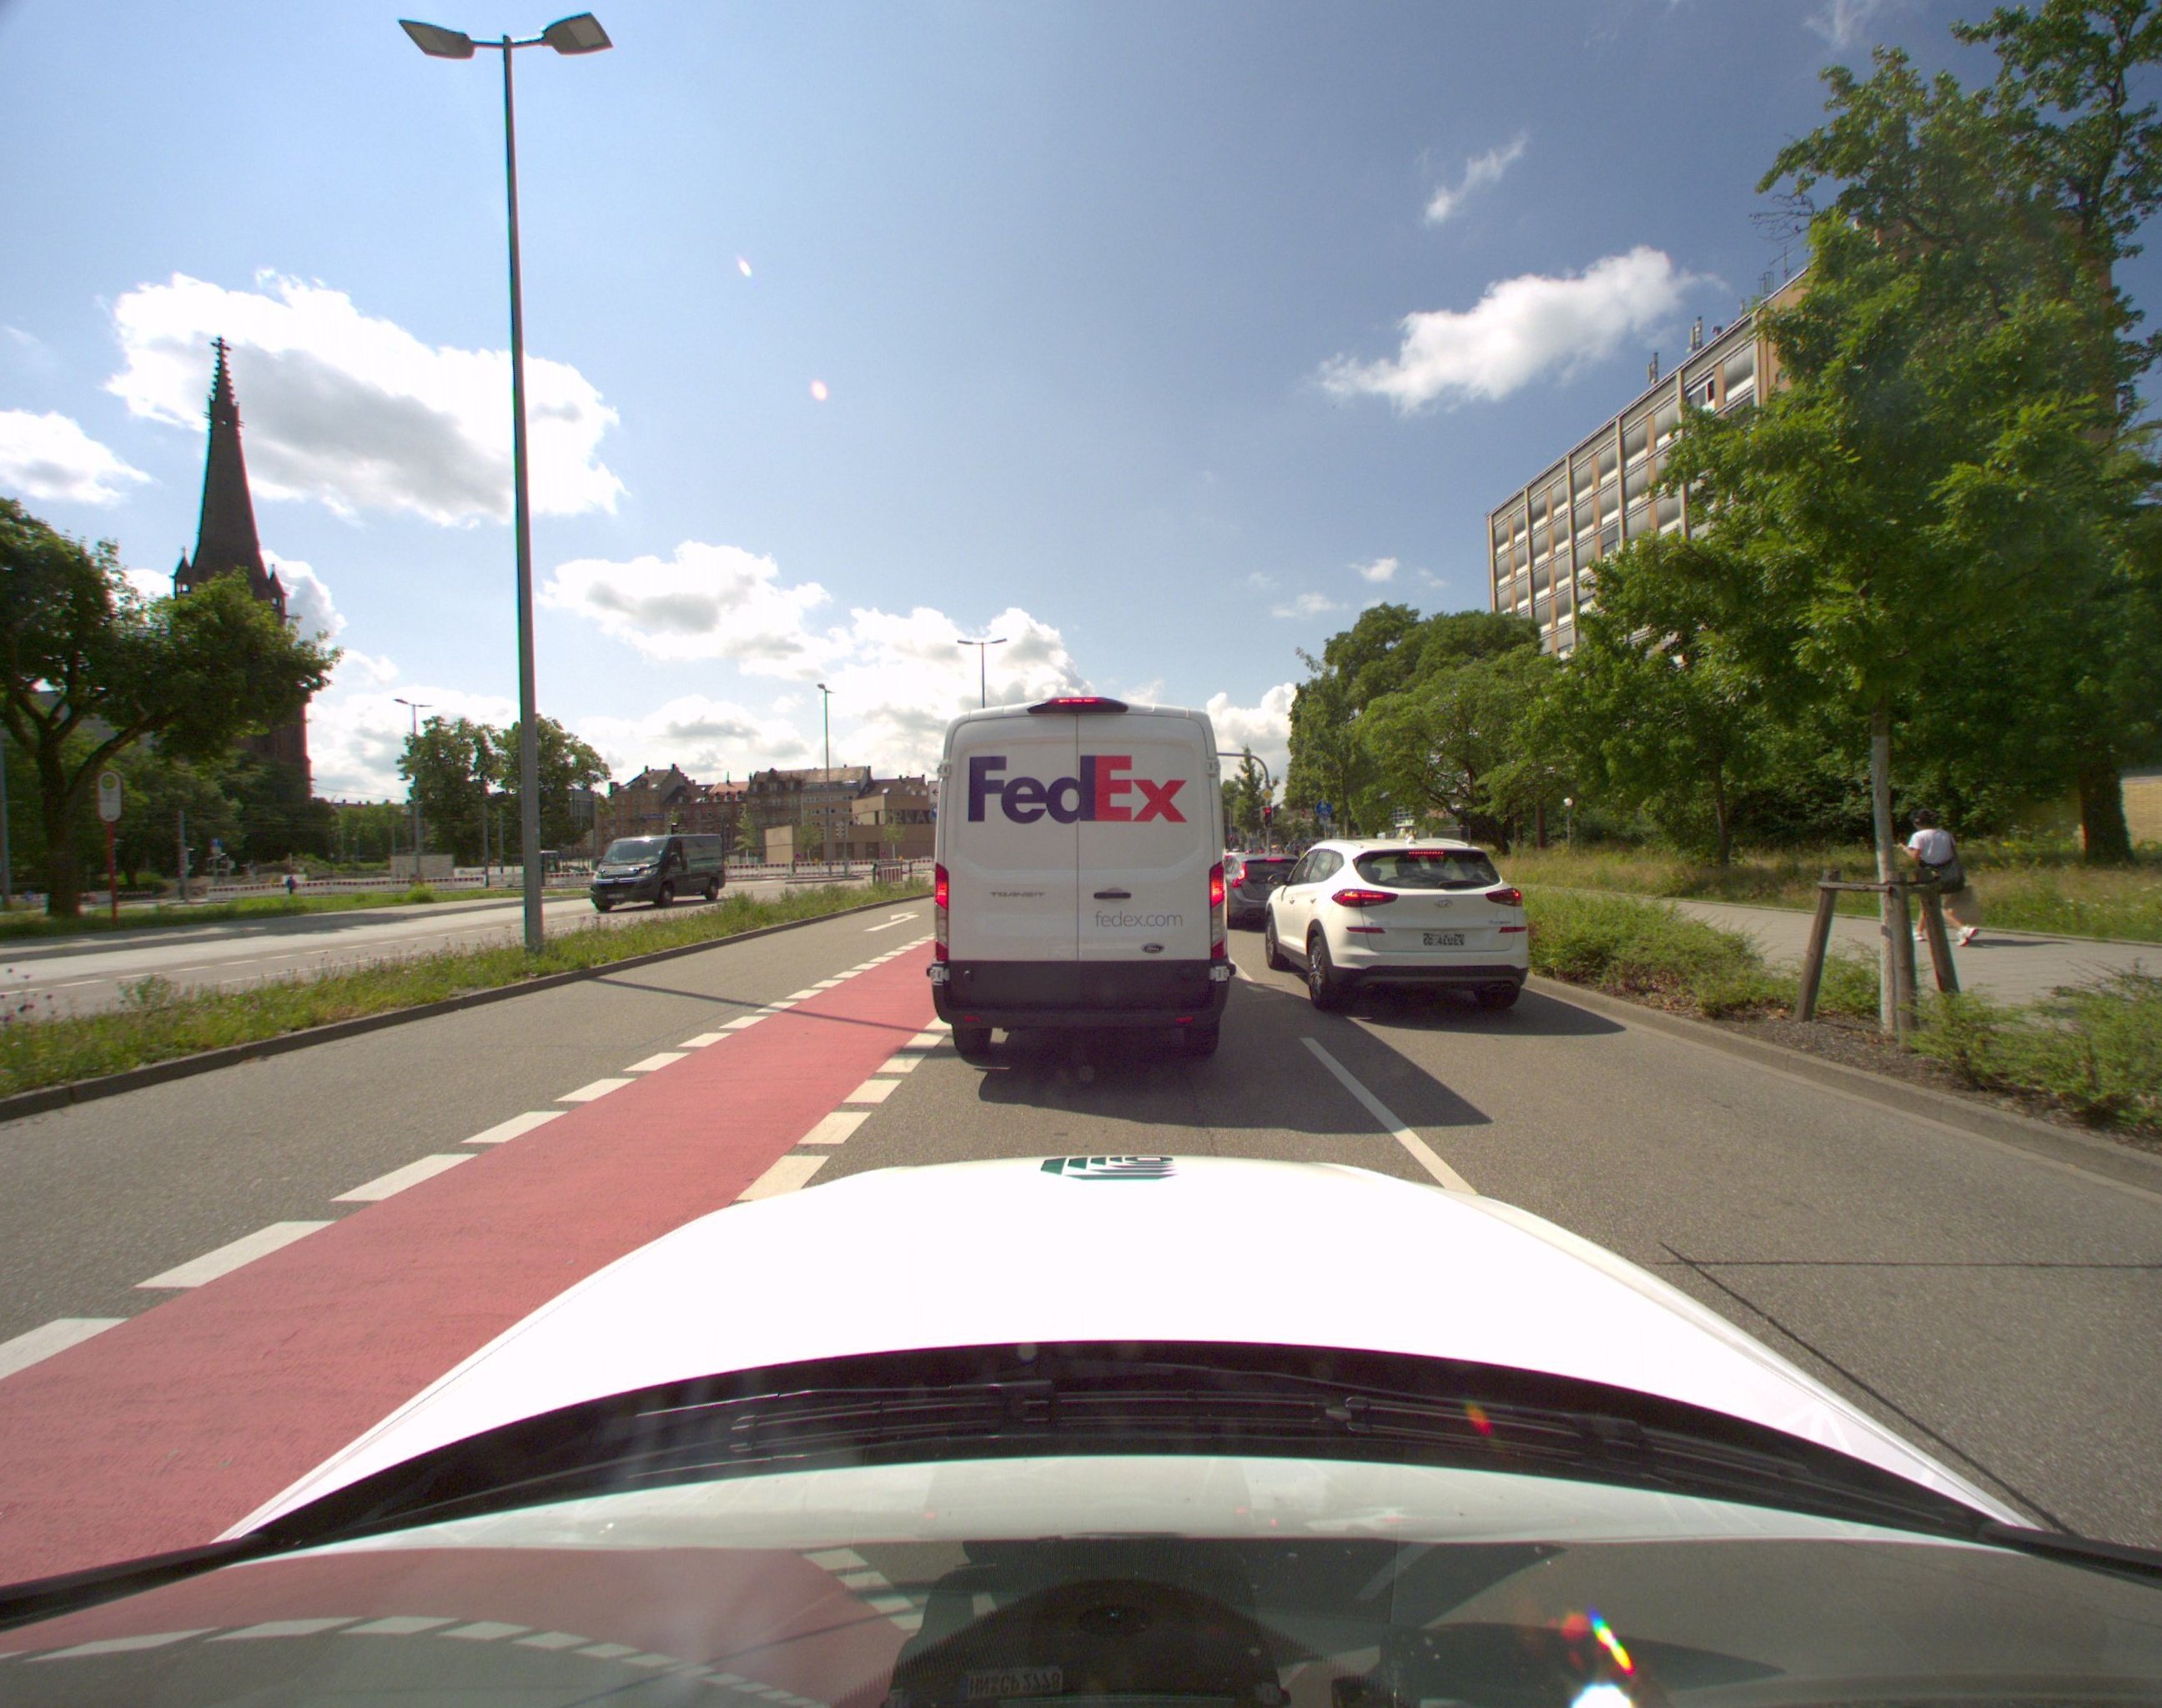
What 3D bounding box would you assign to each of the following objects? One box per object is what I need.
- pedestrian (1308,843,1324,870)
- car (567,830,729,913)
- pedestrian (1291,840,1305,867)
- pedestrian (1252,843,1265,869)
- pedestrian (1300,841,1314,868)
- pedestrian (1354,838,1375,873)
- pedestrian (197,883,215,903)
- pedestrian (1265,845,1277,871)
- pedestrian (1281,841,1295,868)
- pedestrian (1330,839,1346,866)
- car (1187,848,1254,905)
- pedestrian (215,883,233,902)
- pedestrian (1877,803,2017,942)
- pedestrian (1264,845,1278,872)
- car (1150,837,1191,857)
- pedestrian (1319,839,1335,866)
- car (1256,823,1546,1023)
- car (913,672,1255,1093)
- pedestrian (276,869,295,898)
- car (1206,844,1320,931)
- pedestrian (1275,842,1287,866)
[{"bbox_3d":[16.421,0.168,56.989,0.758,1.849,0.814,-2,0,-7],"label":"pedestrian"},{"bbox_3d":[-13.151,0.474,25.221,2.140,2.175,5.019,-4,0,1],"label":"car"},{"bbox_3d":[15.566,-0.047,58.444,0.755,1.849,0.817,-2,0,5],"label":"pedestrian"},{"bbox_3d":[13.008,0.153,59.723,0.810,1.849,0.762,-2,0,5],"label":"pedestrian"},{"bbox_3d":[15.114,0.008,54.483,0.754,1.789,0.818,-2,0,10],"label":"pedestrian"},{"bbox_3d":[13.896,0.058,39.937,0.755,1.655,0.817,-2,0,5],"label":"pedestrian"},{"bbox_3d":[-79.024,3.513,73.532,0.860,1.663,0.745,-2,0,-29],"label":"pedestrian"},{"bbox_3d":[13.733,0.309,58.861,0.753,1.849,0.820,-2,0,16],"label":"pedestrian"},{"bbox_3d":[14.586,0.037,57.325,0.755,1.849,0.817,-2,0,3],"label":"pedestrian"},{"bbox_3d":[17.664,-0.096,56.013,0.758,1.849,0.814,-2,0,-6],"label":"pedestrian"},{"bbox_3d":[3.923,0.588,23.361,1.493,1.464,3.477,-2,0,3],"label":"car"},{"bbox_3d":[-78.835,3.523,74.915,0.860,1.663,0.745,-2,0,-29],"label":"pedestrian"},{"bbox_3d":[10.228,0.211,9.652,0.756,1.557,0.817,-2,0,2],"label":"pedestrian"},{"bbox_3d":[13.176,0.300,56.518,0.752,1.849,0.820,-2,0,20],"label":"pedestrian"},{"bbox_3d":[12.829,-0.987,115.688,2.464,2.717,7.129,-1,-1,37],"label":"car"},{"bbox_3d":[16.872,-0.091,55.850,0.758,1.849,0.814,-2,0,-8],"label":"pedestrian"},{"bbox_3d":[3.175,0.583,8.991,1.807,1.678,3.978,-2,0,3],"label":"car"},{"bbox_3d":[0.141,0.172,7.309,2.064,2.581,4.432,-2,0,3],"label":"car"},{"bbox_3d":[-55.430,2.057,56.723,0.644,2.013,0.632,-2,0,-1],"label":"pedestrian"},{"bbox_3d":[3.620,0.608,16.813,1.684,1.549,3.724,-2,0,3],"label":"car"},{"bbox_3d":[15.438,-0.012,62.885,0.754,1.849,0.818,-2,0,8],"label":"pedestrian"}]
